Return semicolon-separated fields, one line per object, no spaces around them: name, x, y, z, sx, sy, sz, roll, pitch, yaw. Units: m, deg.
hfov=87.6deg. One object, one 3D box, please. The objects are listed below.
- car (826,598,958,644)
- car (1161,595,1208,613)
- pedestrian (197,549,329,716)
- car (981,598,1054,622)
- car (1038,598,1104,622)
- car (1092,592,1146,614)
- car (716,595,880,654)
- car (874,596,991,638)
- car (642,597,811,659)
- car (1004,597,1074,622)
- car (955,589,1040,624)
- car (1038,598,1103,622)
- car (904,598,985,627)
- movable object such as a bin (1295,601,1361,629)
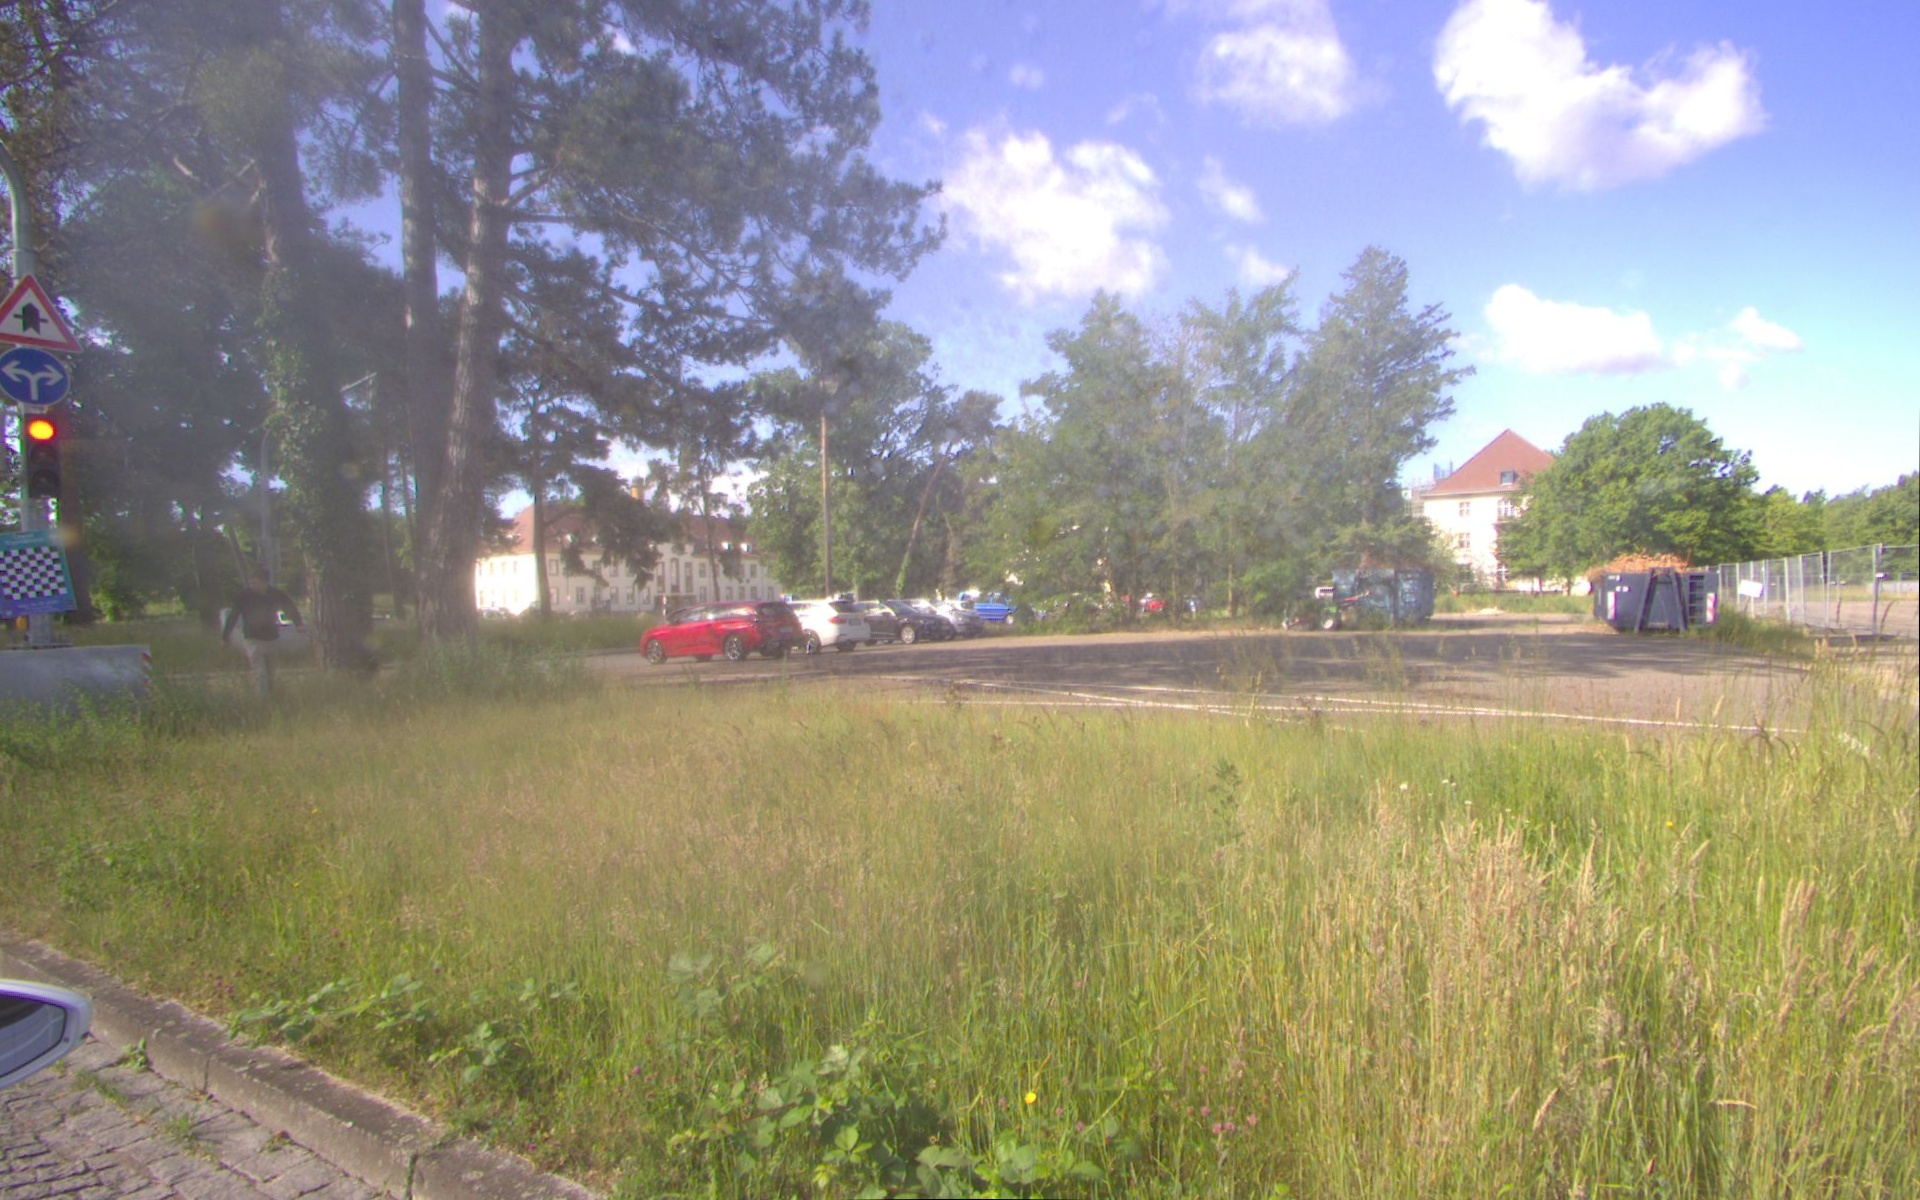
car;-2.186;0.653;31.821;3.987;1.332;1.612;-1;1;33
car;19.625;0.357;87.558;3.681;1.568;1.705;-1;-1;32
pedestrian;-8.099;0.346;11.669;1.157;1.820;1.055;-2;2;-35
car;3.501;0.634;61.532;4.180;1.443;1.720;-1;-1;32
car;7.671;0.691;69.364;4.180;1.568;1.720;-1;-1;32
car;11.987;0.251;75.743;3.681;1.568;1.705;-1;-1;32
car;-4.431;0.671;27.219;4.179;1.396;1.776;-3;0;30
car;-0.972;0.596;34.504;3.739;1.390;1.720;-1;-1;34
car;-5.780;0.712;24.664;4.071;1.417;1.652;-2;-1;32
car;5.044;0.636;64.133;4.180;1.568;1.720;-1;-1;32
car;2.180;0.385;59.207;4.676;1.973;1.982;-1;-1;32
car;7.657;0.691;69.372;4.180;1.568;1.720;-1;-1;32
car;-0.879;0.697;55.104;4.180;1.487;1.720;-1;-1;32
movable object such as a bin;10.496;0.430;28.548;1.696;0.763;1.143;-1;0;25
